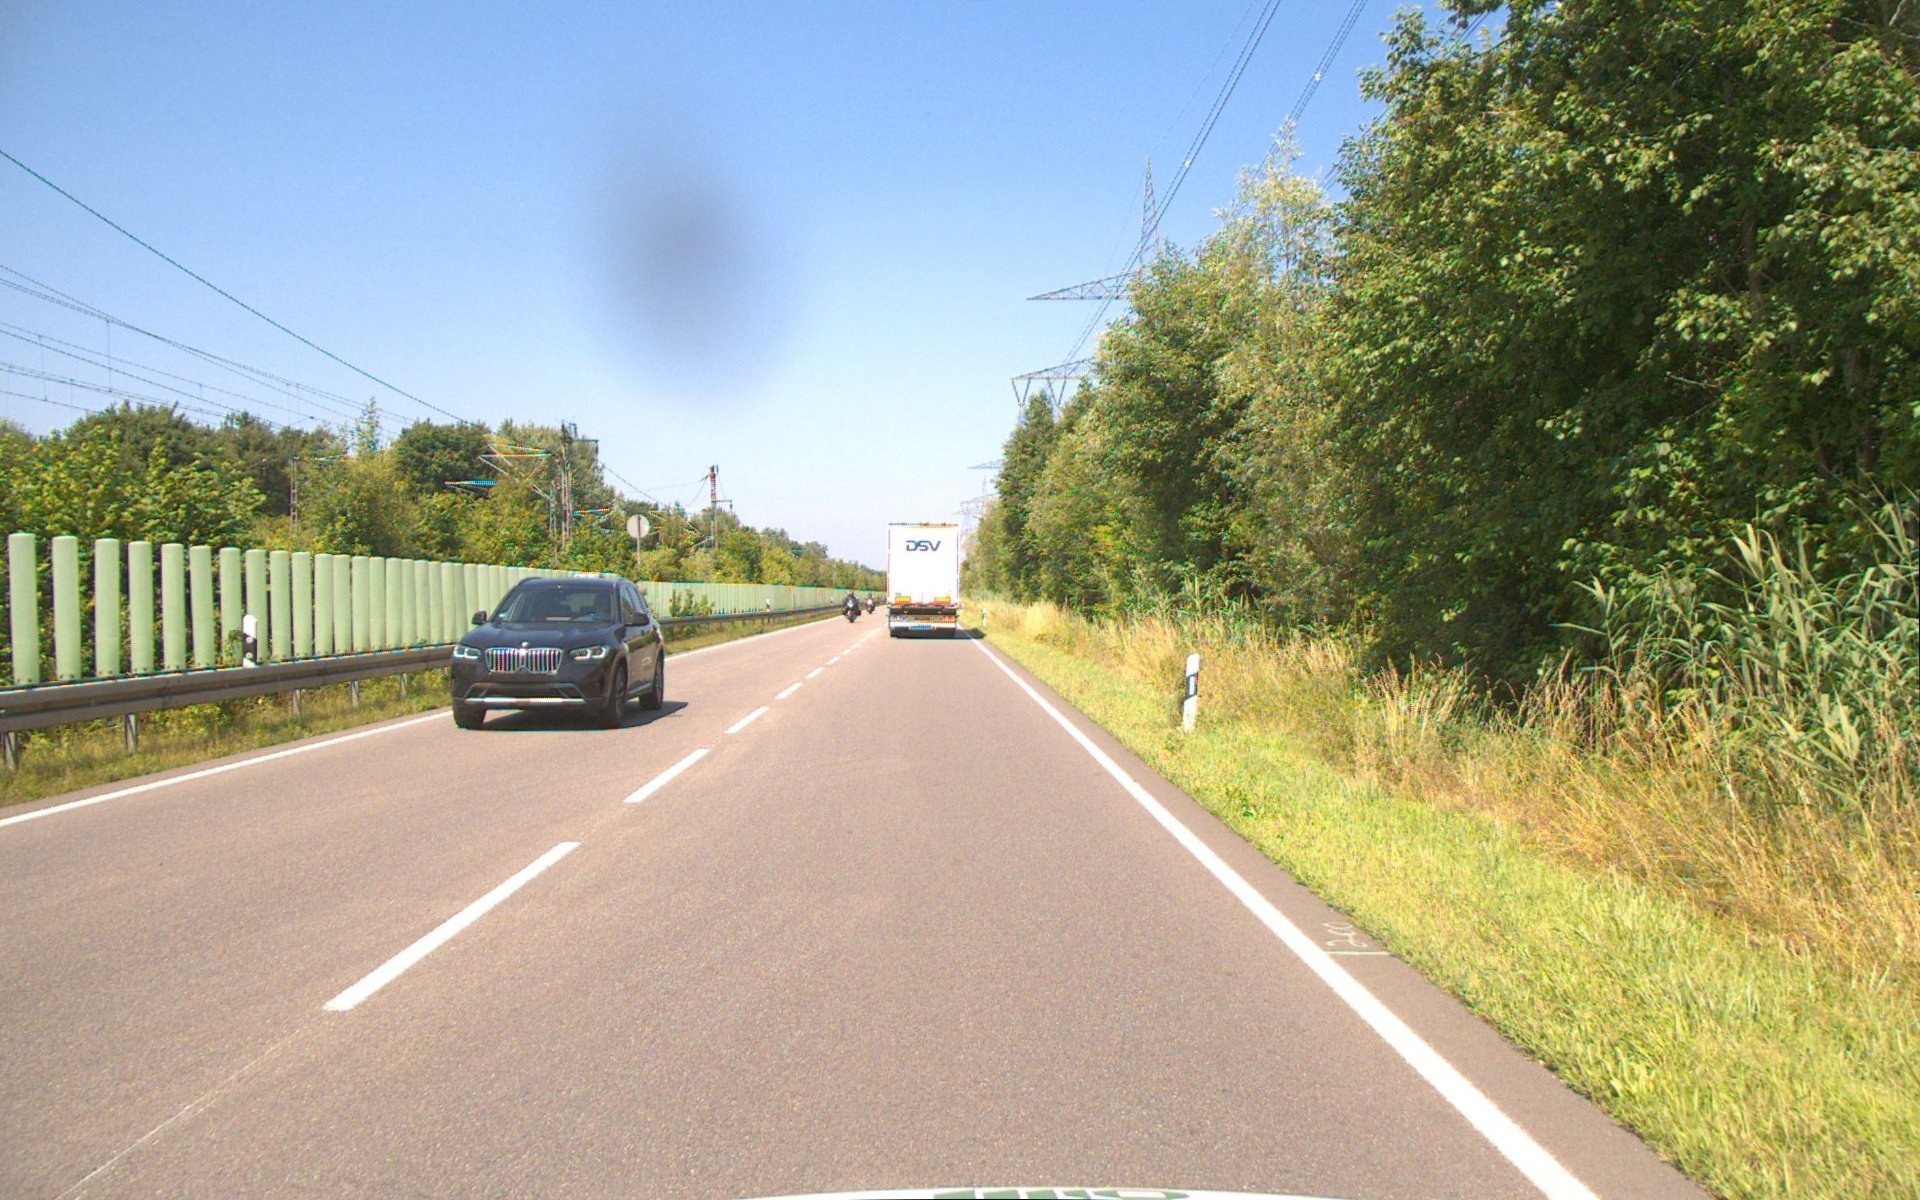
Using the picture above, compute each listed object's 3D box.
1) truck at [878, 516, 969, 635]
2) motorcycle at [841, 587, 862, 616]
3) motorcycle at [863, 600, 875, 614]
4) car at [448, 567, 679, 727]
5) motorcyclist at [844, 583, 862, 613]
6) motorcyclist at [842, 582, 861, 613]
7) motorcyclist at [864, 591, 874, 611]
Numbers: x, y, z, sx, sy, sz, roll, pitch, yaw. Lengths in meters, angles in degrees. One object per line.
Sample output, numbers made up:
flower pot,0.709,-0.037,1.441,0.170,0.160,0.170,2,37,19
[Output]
truck,-1.426,-0.870,63.021,3.128,4.113,12.002,0,0,-2
motorcycle,-5.957,0.084,91.315,0.948,1.522,2.630,1,0,0
motorcycle,-7.297,0.558,132.748,0.738,1.031,2.720,1,0,0
car,-4.672,0.500,20.202,1.777,1.723,4.705,0,0,-1
motorcyclist,-5.950,-0.134,91.948,0.940,1.638,1.003,1,0,0
motorcyclist,-5.953,-0.141,90.939,0.940,1.638,1.003,1,0,0
motorcyclist,-7.290,0.087,132.612,0.742,1.610,1.003,1,0,0
